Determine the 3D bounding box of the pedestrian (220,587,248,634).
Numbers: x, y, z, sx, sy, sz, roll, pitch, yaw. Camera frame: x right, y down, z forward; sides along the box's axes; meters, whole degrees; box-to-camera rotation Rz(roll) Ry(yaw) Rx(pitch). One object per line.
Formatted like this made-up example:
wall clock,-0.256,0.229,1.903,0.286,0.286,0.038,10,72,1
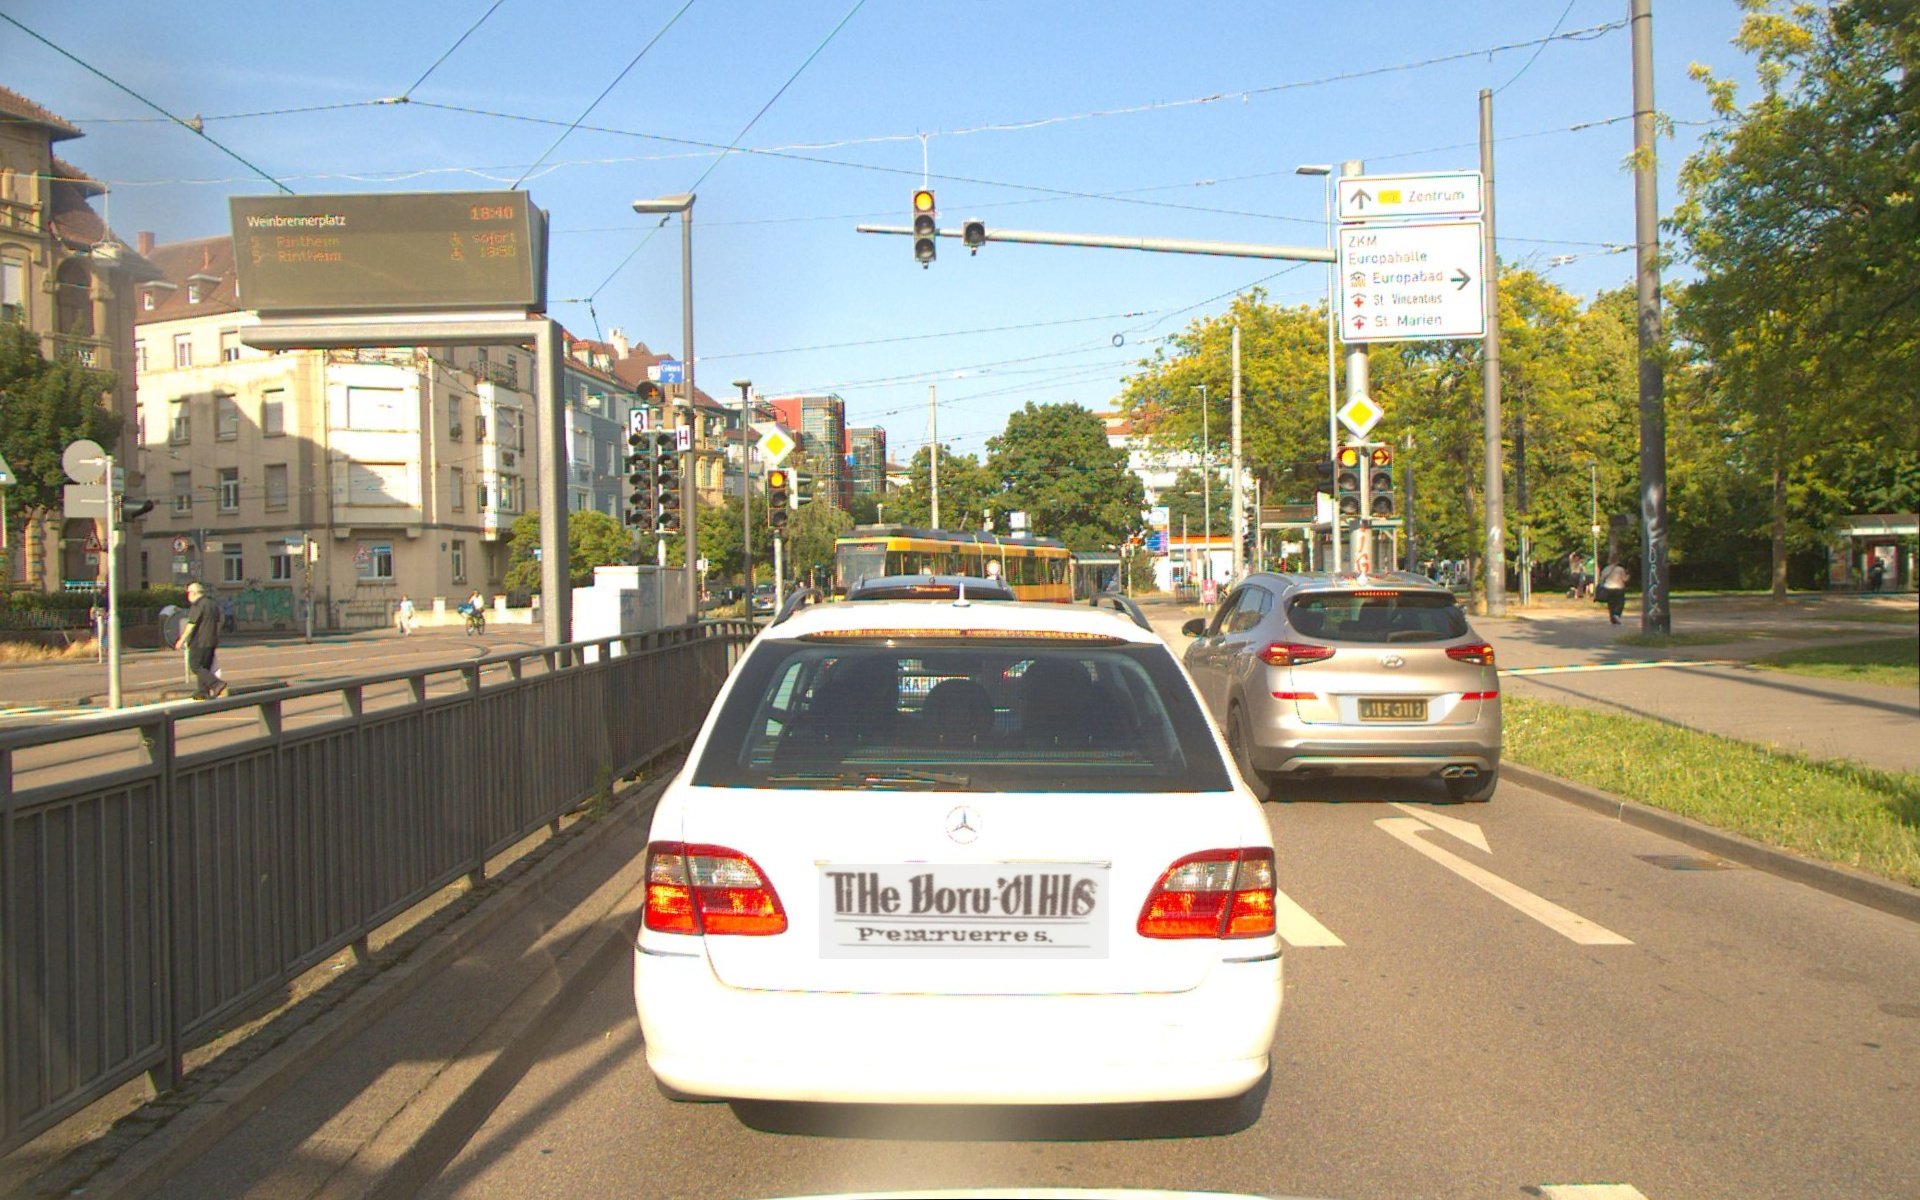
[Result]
pedestrian,-32.398,0.466,73.788,0.758,2.049,0.787,-1,0,14

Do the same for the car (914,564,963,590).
car,-1.769,-1.850,135.480,3.906,2.049,1.999,1,0,-2

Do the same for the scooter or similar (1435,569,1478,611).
scooter or similar,13.904,-0.274,46.332,0.413,1.136,1.322,-1,0,-20

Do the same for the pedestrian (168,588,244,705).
pedestrian,-11.132,0.674,24.415,0.788,1.674,0.745,-2,0,-45

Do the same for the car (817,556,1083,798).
car,-0.095,0.527,13.439,1.846,1.680,3.647,1,0,-1

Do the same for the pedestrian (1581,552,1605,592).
pedestrian,24.478,-1.072,63.925,0.797,1.513,0.700,-1,0,24

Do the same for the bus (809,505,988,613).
bus,-2.005,-1.361,62.149,3.043,3.669,12.382,1,0,16

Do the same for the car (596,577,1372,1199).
car,0.031,0.682,5.580,1.759,1.496,3.647,0,0,-1

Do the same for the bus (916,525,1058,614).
bus,1.465,-1.233,74.227,3.043,3.669,12.598,1,0,17

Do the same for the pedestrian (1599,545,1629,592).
pedestrian,25.754,-1.224,65.103,0.784,1.816,0.838,-1,0,-5

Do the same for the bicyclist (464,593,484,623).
bicyclist,-17.421,0.274,59.314,0.502,1.062,0.679,-1,0,-1

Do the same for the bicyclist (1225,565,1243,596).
bicyclist,13.561,-0.982,81.838,0.842,1.507,0.790,-1,0,7

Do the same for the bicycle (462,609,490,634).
bicycle,-17.407,0.771,59.455,0.515,0.849,1.686,-1,0,-1

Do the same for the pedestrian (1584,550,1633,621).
pedestrian,15.371,-0.347,39.204,0.748,1.665,0.797,-2,0,-40

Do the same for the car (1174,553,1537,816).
car,2.856,0.542,12.775,1.846,1.680,3.647,-2,0,-1

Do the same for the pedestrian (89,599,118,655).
pedestrian,-23.764,0.757,45.914,0.428,1.527,0.549,-1,0,14

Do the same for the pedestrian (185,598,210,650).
pedestrian,-22.875,0.716,49.632,0.523,1.527,0.389,-1,0,14

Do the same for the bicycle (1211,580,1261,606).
bicycle,13.649,-0.353,81.847,2.430,1.234,0.807,-1,0,7

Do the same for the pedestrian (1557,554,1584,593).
pedestrian,23.929,-1.026,64.819,0.809,1.513,0.690,-2,0,-42

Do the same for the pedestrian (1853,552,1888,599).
pedestrian,32.494,-0.877,59.033,0.818,1.665,0.803,-1,0,5

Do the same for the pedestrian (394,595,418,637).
pedestrian,-20.982,0.614,62.654,0.616,1.568,0.711,-1,0,-1
